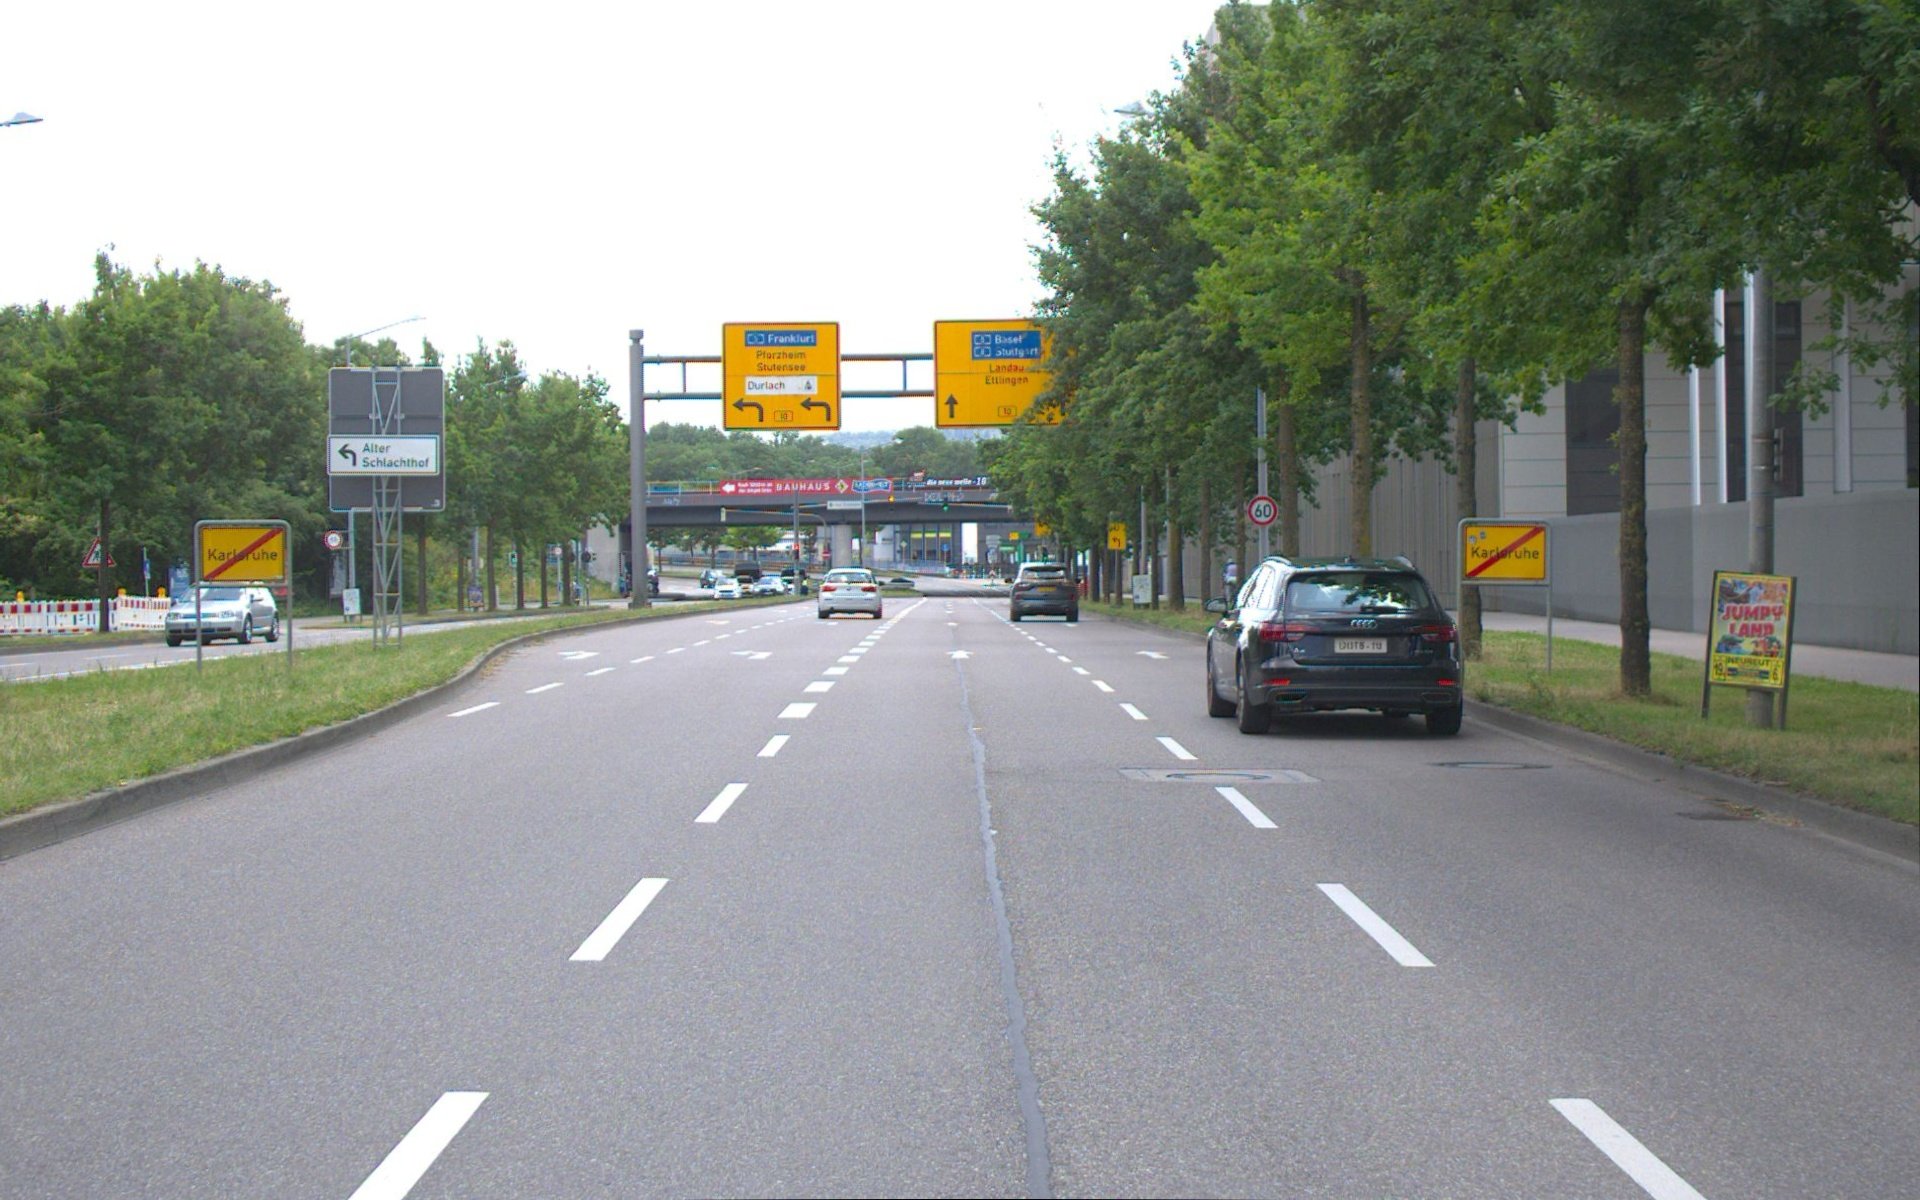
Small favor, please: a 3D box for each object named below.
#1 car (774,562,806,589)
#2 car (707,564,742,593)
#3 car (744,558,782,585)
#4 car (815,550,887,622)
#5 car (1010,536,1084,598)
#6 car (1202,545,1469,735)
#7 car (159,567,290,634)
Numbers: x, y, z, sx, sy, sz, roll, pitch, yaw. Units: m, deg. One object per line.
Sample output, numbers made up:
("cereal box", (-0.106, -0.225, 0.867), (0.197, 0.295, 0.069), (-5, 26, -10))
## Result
("car", (-11.563, -1.649, 234.475), (1.993, 1.711, 4.000), (1, 0, 0))
("car", (-14.948, -1.354, 218.393), (1.993, 1.777, 4.000), (1, 0, -1))
("car", (-12.043, -1.756, 210.495), (1.993, 1.612, 4.000), (-1, 0, 1))
("car", (-3.167, -0.410, 99.116), (1.993, 2.007, 4.000), (1, 0, -3))
("car", (2.444, -0.944, 95.680), (1.993, 1.620, 4.309), (-1, 1, 2))
("car", (3.056, 0.291, 28.675), (1.684, 1.458, 4.000), (1, 0, -1))
("car", (-15.781, -0.017, 73.946), (1.640, 1.324, 4.381), (-1, 1, 3))
